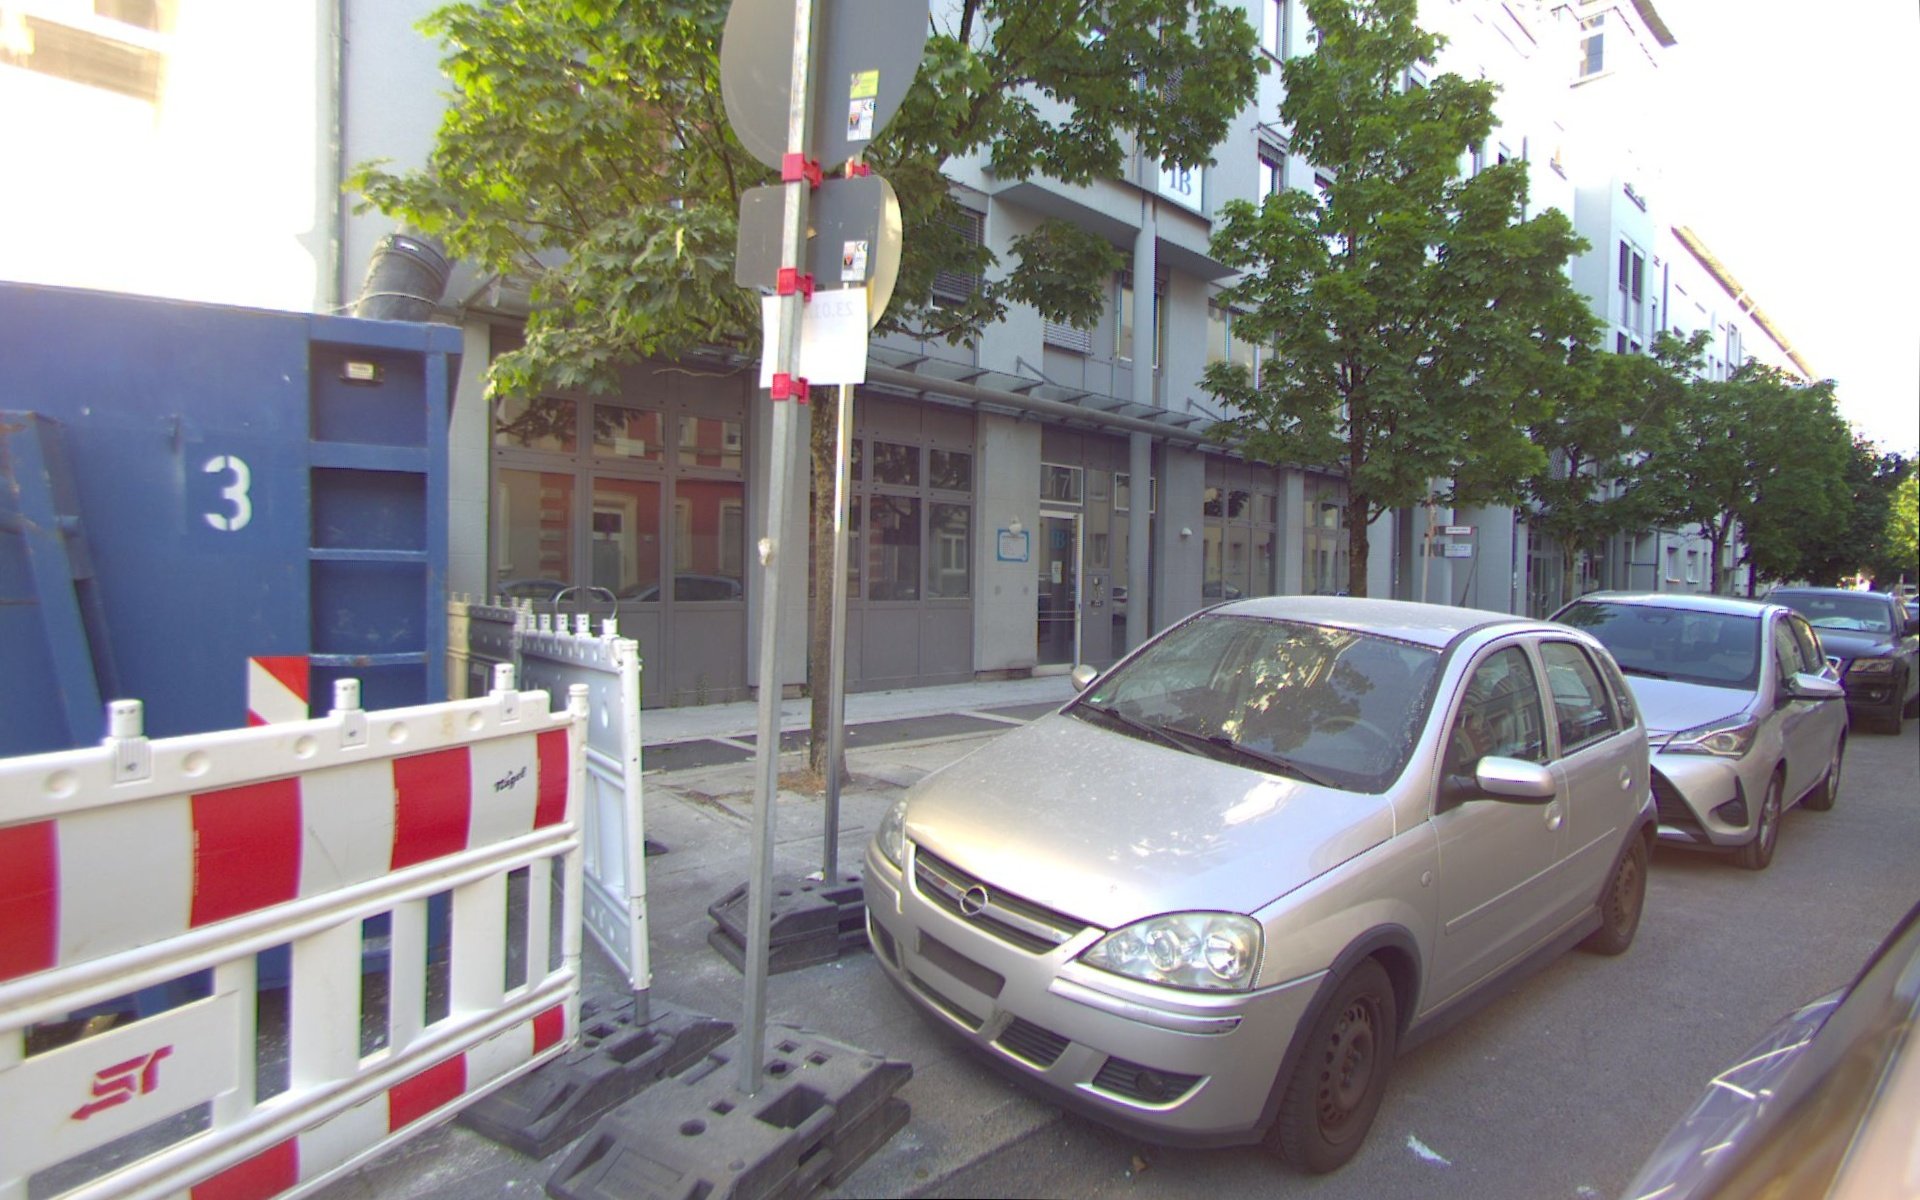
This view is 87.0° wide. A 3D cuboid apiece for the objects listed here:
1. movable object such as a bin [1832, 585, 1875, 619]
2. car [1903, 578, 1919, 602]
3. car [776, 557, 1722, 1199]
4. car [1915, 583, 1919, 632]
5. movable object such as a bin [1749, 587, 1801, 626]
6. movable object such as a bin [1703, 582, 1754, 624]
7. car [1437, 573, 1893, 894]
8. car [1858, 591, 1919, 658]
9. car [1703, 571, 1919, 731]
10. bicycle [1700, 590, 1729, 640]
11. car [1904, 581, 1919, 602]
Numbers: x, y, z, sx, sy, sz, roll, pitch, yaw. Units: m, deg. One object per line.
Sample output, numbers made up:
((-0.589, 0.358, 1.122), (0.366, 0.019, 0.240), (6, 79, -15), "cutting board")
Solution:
((40.172, 0.093, 45.502), (1.202, 1.454, 1.286), (0, 3, -43), "movable object such as a bin")
((96.753, -0.966, 101.379), (2.147, 2.311, 6.135), (3, 3, 33), "car")
((1.343, 0.647, 3.851), (3.664, 1.493, 1.680), (0, 3, -40), "car")
((34.887, 0.283, 35.476), (4.646, 1.655, 1.873), (-1, 3, -45), "car")
((29.282, 0.221, 36.374), (1.120, 1.337, 1.263), (0, 3, -43), "movable object such as a bin")
((28.228, 0.105, 37.168), (1.120, 1.454, 1.263), (0, 3, -43), "movable object such as a bin")
((5.003, 0.639, 6.972), (3.902, 1.543, 1.679), (0, 3, -42), "car")
((22.952, 0.547, 24.223), (4.272, 1.446, 1.766), (-1, 3, -43), "car")
((11.241, 0.511, 13.019), (4.360, 1.642, 1.888), (0, 3, -43), "car")
((19.230, 0.365, 25.818), (0.519, 1.182, 1.718), (3, 3, 36), "bicycle")
((87.071, -0.686, 89.930), (2.040, 1.792, 4.225), (1, 3, -29), "car")
